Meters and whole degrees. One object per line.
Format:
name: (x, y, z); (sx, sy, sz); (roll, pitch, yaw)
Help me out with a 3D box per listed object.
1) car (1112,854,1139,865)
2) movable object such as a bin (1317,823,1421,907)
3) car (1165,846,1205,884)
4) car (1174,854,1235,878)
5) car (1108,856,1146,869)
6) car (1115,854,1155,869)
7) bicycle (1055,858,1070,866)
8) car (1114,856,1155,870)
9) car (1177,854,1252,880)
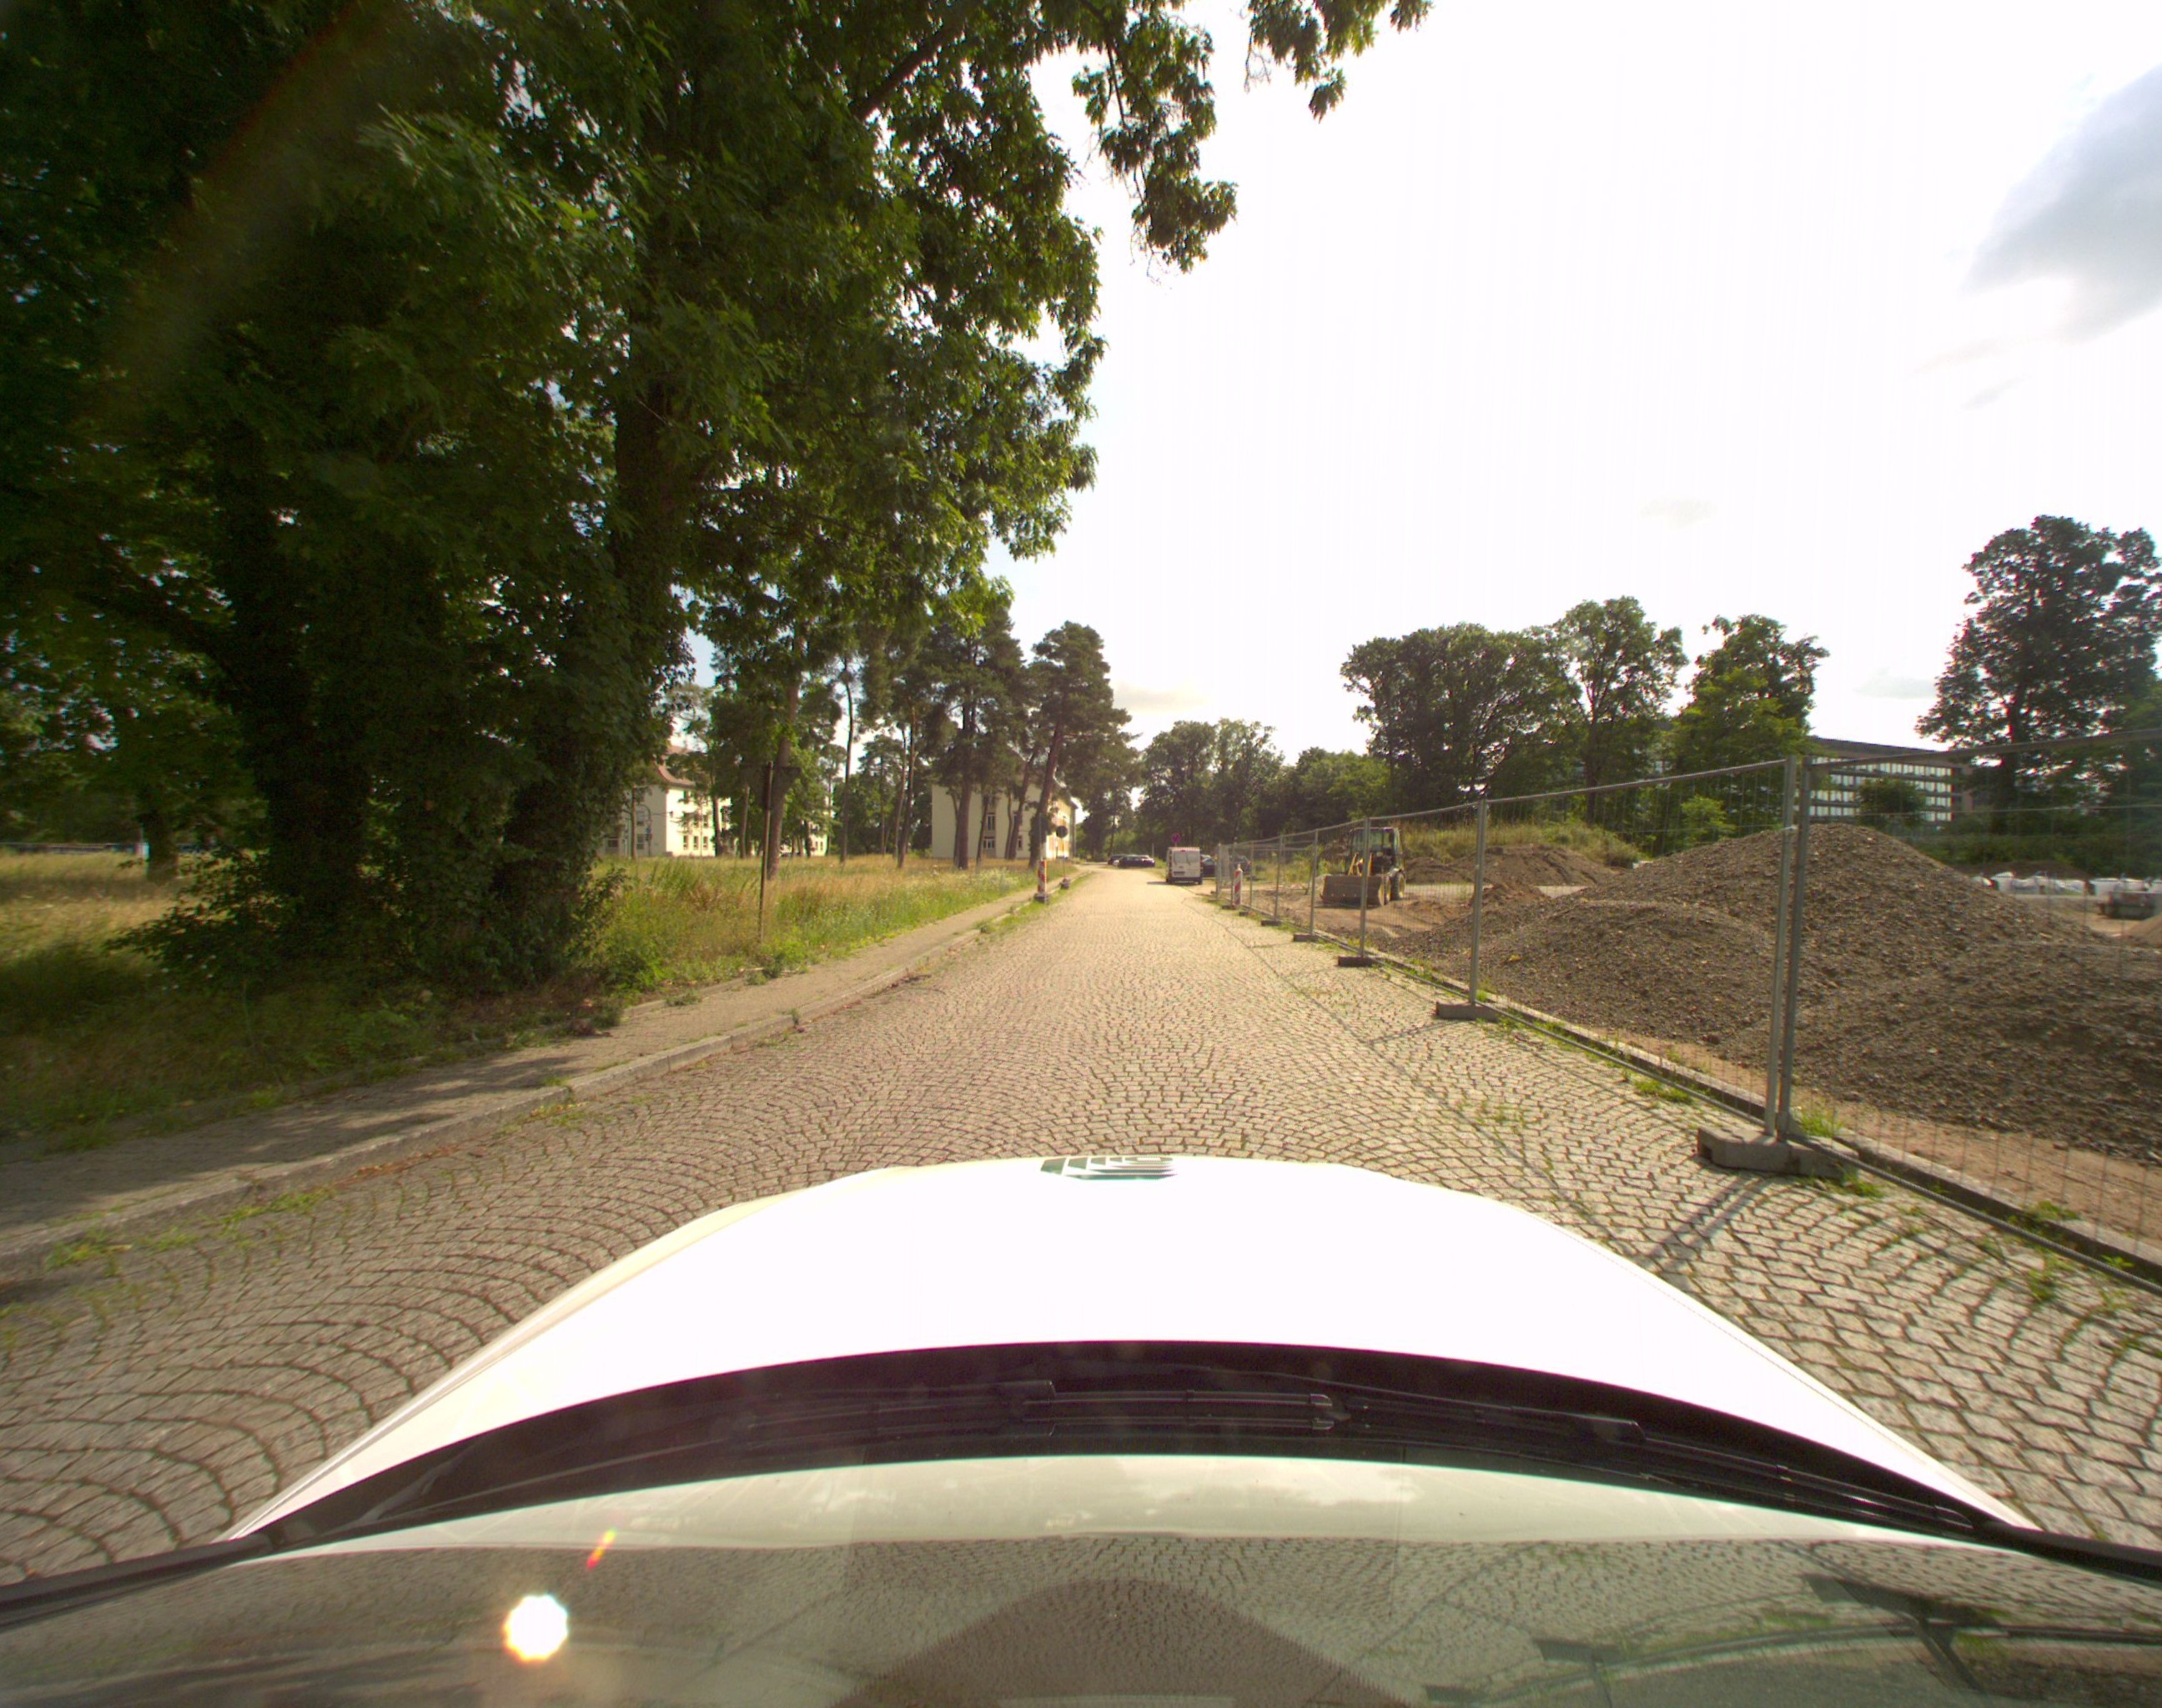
car: (7.226, 0.890, 132.238); (4.168, 1.543, 1.822); (-2, -1, 4)
movable object such as a bin: (9.750, 0.299, 27.262); (2.122, 2.521, 5.692); (-1, 0, 31)
car: (5.831, 0.606, 46.217); (1.905, 2.053, 5.684); (0, -1, 4)
car: (8.573, 0.824, 56.751); (3.974, 1.507, 1.746); (-2, -1, 0)
car: (5.883, 1.077, 104.114); (4.835, 1.552, 1.880); (-1, -1, 1)
car: (6.229, 0.862, 93.628); (4.318, 1.500, 1.826); (-2, 0, -6)
bicycle: (-2.783, 1.189, 121.553); (2.211, 1.260, 0.624); (0, -1, 5)
car: (6.339, 1.078, 96.734); (4.844, 1.472, 1.875); (-1, 0, 1)
car: (8.491, 0.821, 52.107); (4.441, 1.475, 1.744); (-2, -1, -2)
